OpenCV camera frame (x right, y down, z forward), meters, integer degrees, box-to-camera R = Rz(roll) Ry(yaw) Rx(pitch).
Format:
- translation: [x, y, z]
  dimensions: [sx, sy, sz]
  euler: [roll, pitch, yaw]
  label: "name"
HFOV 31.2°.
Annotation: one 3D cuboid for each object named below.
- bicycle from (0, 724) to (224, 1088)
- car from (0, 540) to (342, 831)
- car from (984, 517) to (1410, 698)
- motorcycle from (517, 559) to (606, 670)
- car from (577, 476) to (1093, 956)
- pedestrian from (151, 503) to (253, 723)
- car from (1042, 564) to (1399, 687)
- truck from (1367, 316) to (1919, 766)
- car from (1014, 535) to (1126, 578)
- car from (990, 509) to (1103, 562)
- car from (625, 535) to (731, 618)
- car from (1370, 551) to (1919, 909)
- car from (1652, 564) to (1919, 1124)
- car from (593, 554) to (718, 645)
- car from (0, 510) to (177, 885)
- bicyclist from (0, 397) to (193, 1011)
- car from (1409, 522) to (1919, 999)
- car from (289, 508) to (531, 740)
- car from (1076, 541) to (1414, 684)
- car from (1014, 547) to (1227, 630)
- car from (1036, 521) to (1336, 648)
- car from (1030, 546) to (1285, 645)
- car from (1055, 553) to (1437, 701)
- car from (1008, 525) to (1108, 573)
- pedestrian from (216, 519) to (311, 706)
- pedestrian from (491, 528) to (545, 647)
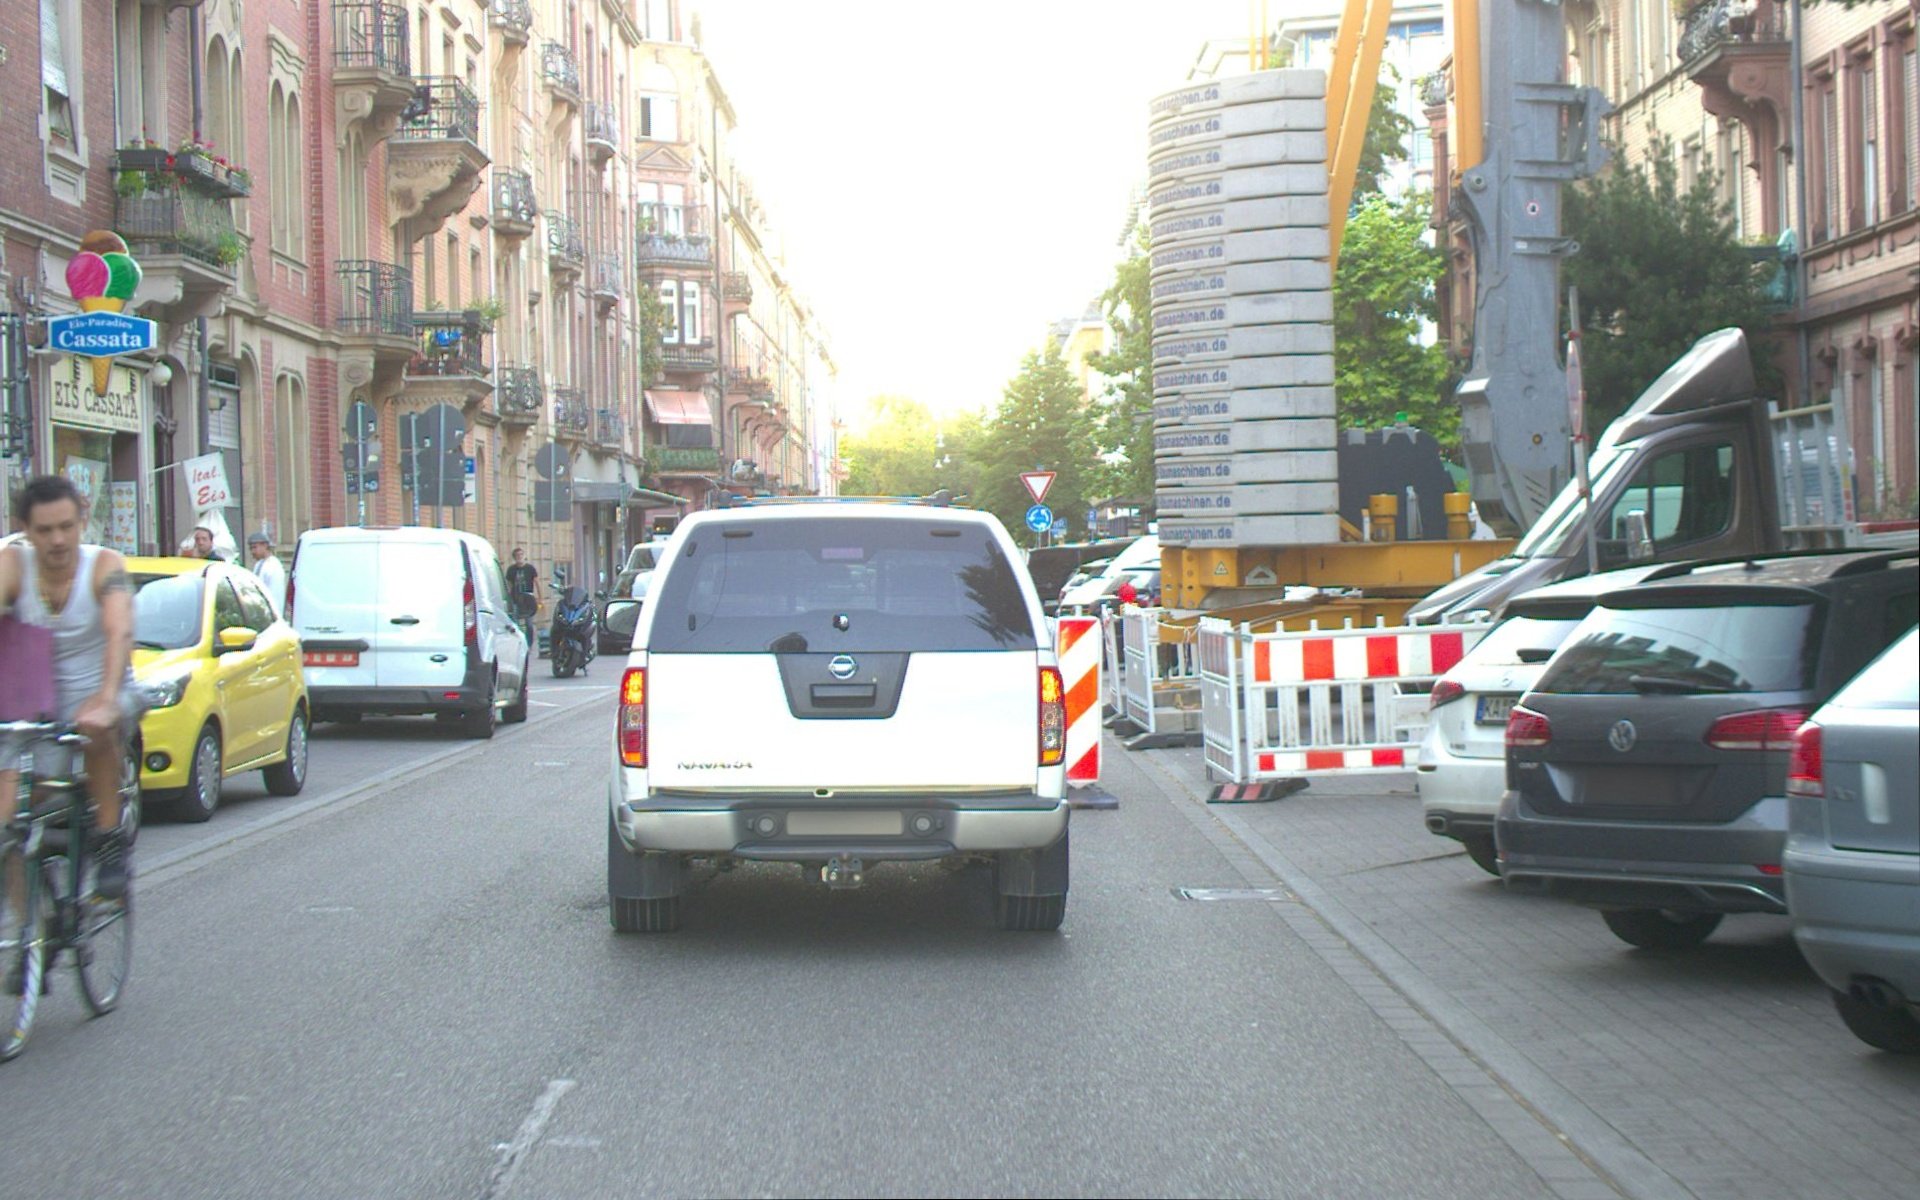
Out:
- translation: [-2.900, 0.915, 10.848]
  dimensions: [0.800, 0.944, 2.005]
  euler: [0, 1, -2]
  label: "bicycle"
- translation: [-4.923, 0.452, 21.000]
  dimensions: [1.499, 1.588, 3.856]
  euler: [-1, 1, 1]
  label: "car"
- translation: [2.417, 0.063, 34.895]
  dimensions: [4.196, 1.774, 1.819]
  euler: [0, 1, 6]
  label: "car"
- translation: [-5.251, 0.169, 45.455]
  dimensions: [0.837, 1.411, 2.549]
  euler: [0, 1, 1]
  label: "motorcycle"
- translation: [-0.712, 0.402, 15.197]
  dimensions: [1.933, 1.788, 4.623]
  euler: [0, 1, -6]
  label: "car"
- translation: [-6.491, 0.110, 29.481]
  dimensions: [0.738, 1.863, 0.618]
  euler: [0, 1, -2]
  label: "pedestrian"
- translation: [3.152, 0.295, 41.470]
  dimensions: [4.196, 1.425, 1.819]
  euler: [0, 1, 6]
  label: "car"
- translation: [6.114, -0.360, 23.837]
  dimensions: [6.320, 2.966, 2.264]
  euler: [0, -2, 1]
  label: "truck"
- translation: [4.167, -1.647, 129.952]
  dimensions: [4.195, 1.616, 1.819]
  euler: [0, 1, 3]
  label: "car"
- translation: [3.586, -2.666, 141.876]
  dimensions: [4.588, 2.170, 1.819]
  euler: [0, 1, 3]
  label: "car"
- translation: [-5.333, -0.457, 65.419]
  dimensions: [1.710, 1.525, 4.000]
  euler: [0, 1, 0]
  label: "car"
- translation: [3.785, 0.510, 15.717]
  dimensions: [3.548, 1.459, 1.611]
  euler: [-1, 1, -31]
  label: "car"
- translation: [4.053, 0.573, 10.102]
  dimensions: [3.825, 1.432, 1.762]
  euler: [-3, 2, -35]
  label: "car"
- translation: [-5.227, -0.035, 59.496]
  dimensions: [1.791, 1.525, 4.000]
  euler: [0, 1, 0]
  label: "car"
- translation: [-5.192, 0.435, 16.347]
  dimensions: [1.905, 1.657, 4.068]
  euler: [-1, 1, 1]
  label: "car"
- translation: [-2.906, 0.308, 10.800]
  dimensions: [0.800, 1.843, 0.944]
  euler: [0, 1, -2]
  label: "bicyclist"
- translation: [3.621, 0.483, 12.862]
  dimensions: [3.882, 1.525, 1.637]
  euler: [-1, 1, -39]
  label: "car"
- translation: [-4.819, 0.174, 30.551]
  dimensions: [1.559, 1.914, 3.856]
  euler: [1, 1, -1]
  label: "car"
- translation: [3.638, 0.144, 43.831]
  dimensions: [4.196, 1.774, 1.819]
  euler: [0, 1, 6]
  label: "car"
- translation: [3.212, -0.238, 68.789]
  dimensions: [4.195, 1.616, 1.819]
  euler: [0, 1, 3]
  label: "car"
- translation: [3.216, -0.229, 49.163]
  dimensions: [4.195, 1.774, 1.819]
  euler: [0, 1, 3]
  label: "car"
- translation: [3.296, -0.082, 57.612]
  dimensions: [4.195, 1.616, 1.819]
  euler: [0, 1, 3]
  label: "car"
- translation: [3.196, 0.284, 38.896]
  dimensions: [4.195, 1.616, 1.819]
  euler: [0, 1, 3]
  label: "car"
- translation: [4.565, -2.369, 159.567]
  dimensions: [4.588, 2.170, 1.819]
  euler: [0, 1, 3]
  label: "car"
- translation: [-7.043, 0.120, 34.771]
  dimensions: [0.617, 1.863, 0.739]
  euler: [0, 1, 23]
  label: "pedestrian"
- translation: [-7.497, -0.221, 58.369]
  dimensions: [0.788, 2.007, 0.934]
  euler: [0, 1, -1]
  label: "pedestrian"
